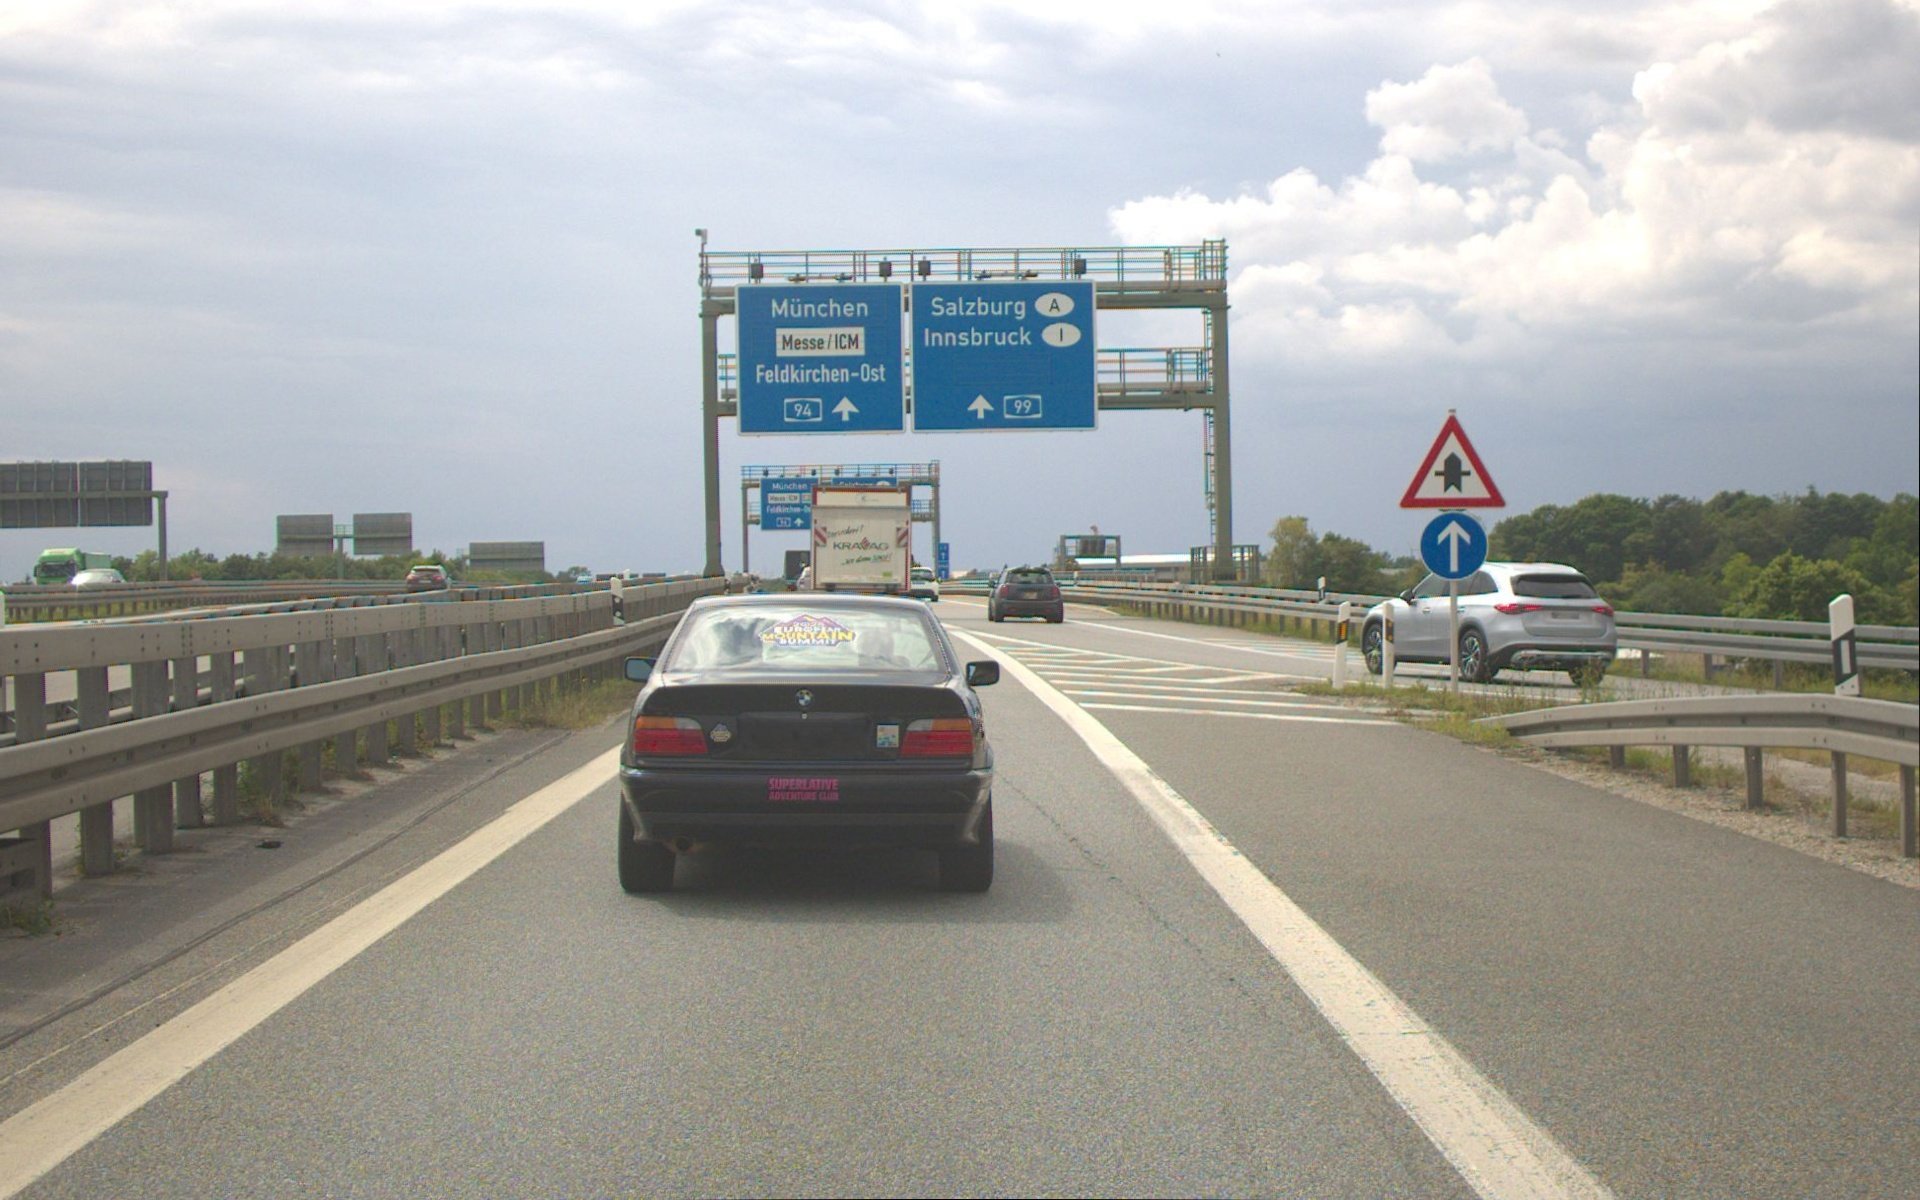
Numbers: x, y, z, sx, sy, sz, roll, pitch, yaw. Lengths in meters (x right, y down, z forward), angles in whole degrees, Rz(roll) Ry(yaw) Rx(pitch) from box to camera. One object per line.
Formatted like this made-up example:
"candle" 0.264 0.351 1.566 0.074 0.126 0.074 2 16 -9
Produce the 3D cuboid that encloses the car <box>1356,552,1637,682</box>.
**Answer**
"car" 7.219 0.217 46.688 1.935 1.679 4.210 0 0 -21

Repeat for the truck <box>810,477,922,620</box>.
"truck" -2.135 -1.165 77.832 2.404 3.079 6.371 0 1 -2

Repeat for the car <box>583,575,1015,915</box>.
"car" -0.665 0.586 16.353 1.782 1.373 4.137 1 1 0

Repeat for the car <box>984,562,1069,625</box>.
"car" 1.679 -0.184 87.991 1.993 1.547 4.000 1 1 -1

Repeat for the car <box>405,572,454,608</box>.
"car" -24.128 -0.472 156.374 1.892 1.592 4.418 0 1 -5
